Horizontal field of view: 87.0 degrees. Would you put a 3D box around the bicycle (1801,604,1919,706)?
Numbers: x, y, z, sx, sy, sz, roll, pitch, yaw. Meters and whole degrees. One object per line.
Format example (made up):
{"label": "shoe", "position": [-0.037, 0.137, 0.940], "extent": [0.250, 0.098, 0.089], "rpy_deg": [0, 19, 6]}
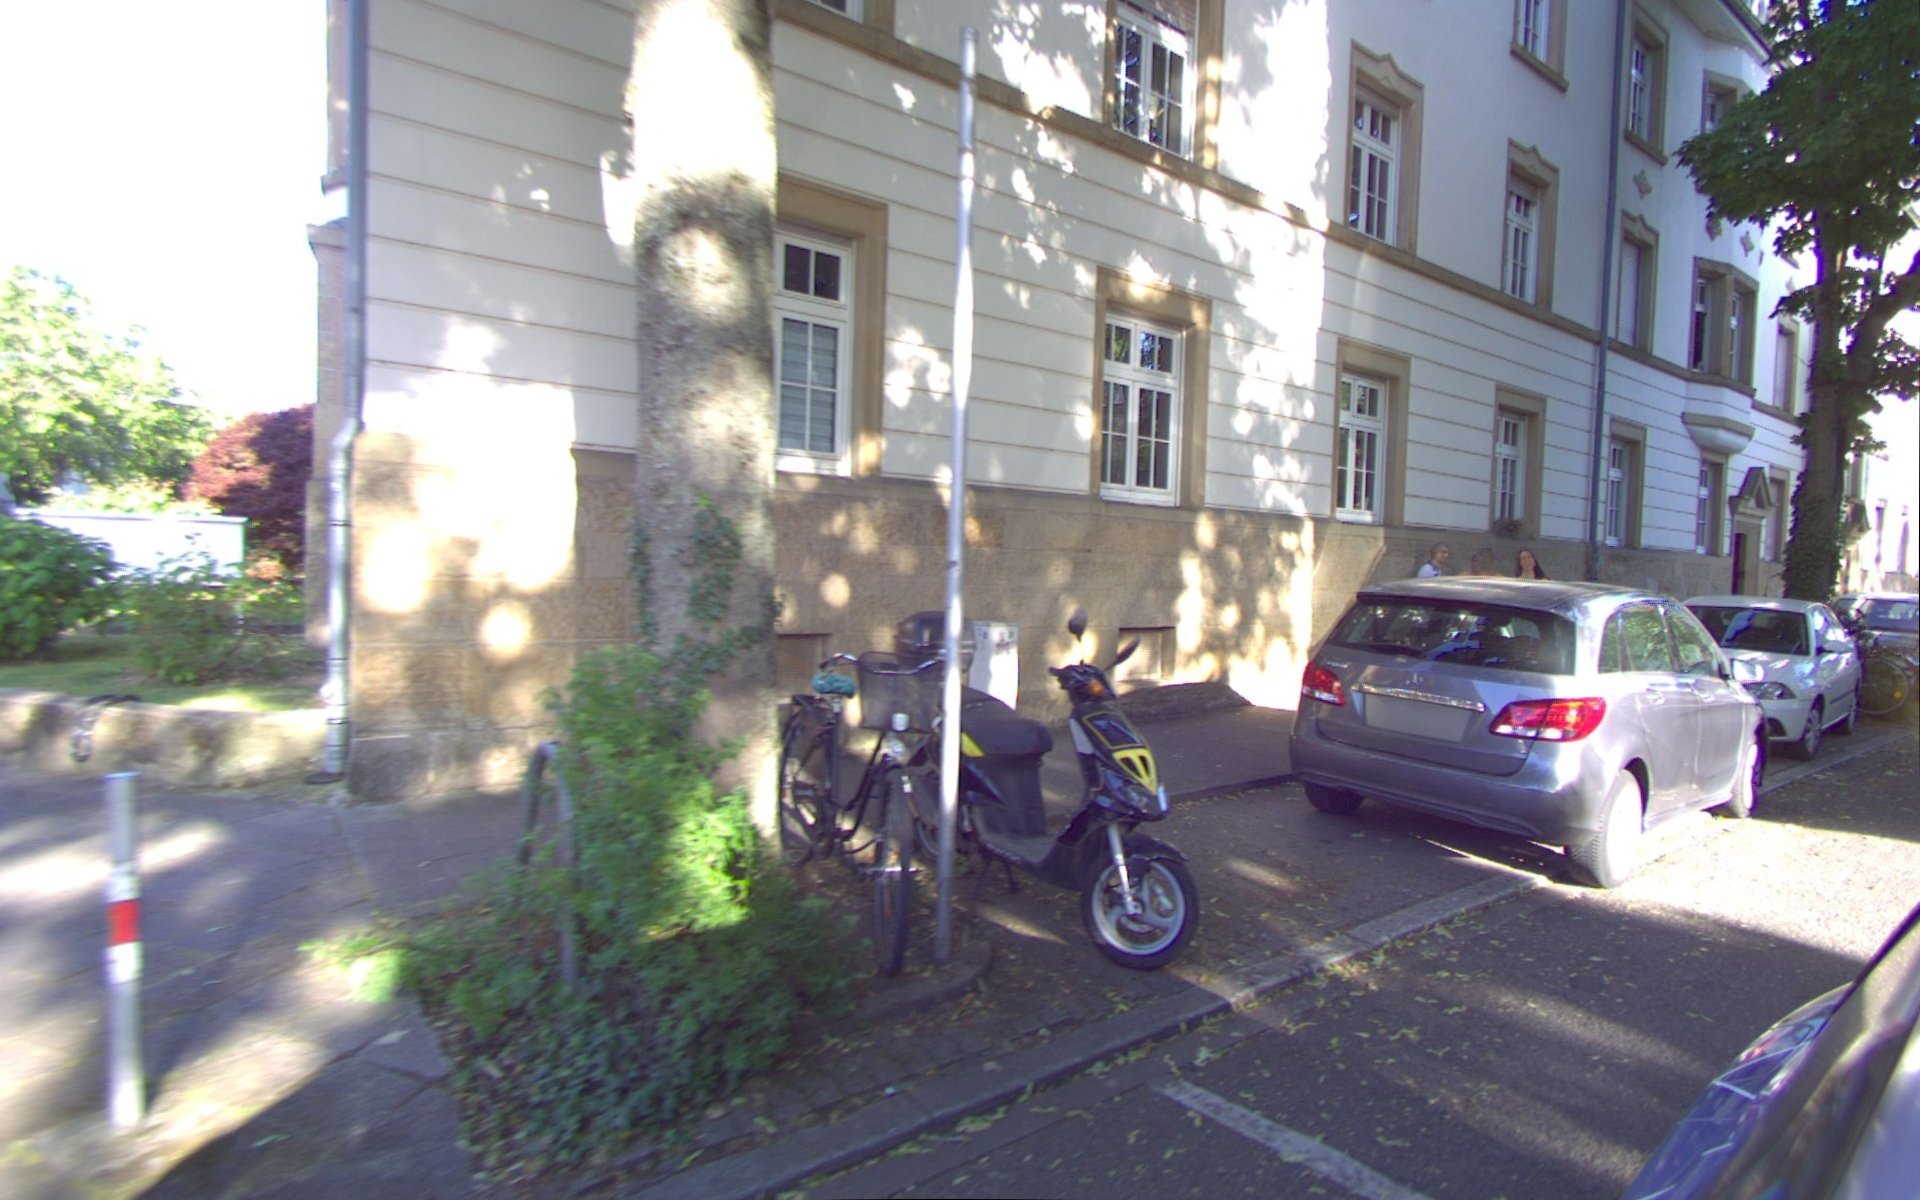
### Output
{"label": "bicycle", "position": [11.838, 0.697, 13.074], "extent": [0.330, 1.209, 1.414], "rpy_deg": [0, 3, -39]}

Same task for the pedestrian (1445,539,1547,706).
{"label": "pedestrian", "position": [5.742, 0.214, 10.846], "extent": [0.803, 1.705, 0.625], "rpy_deg": [0, 2, -38]}

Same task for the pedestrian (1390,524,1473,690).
{"label": "pedestrian", "position": [5.483, 0.064, 11.770], "extent": [0.693, 1.867, 0.529], "rpy_deg": [0, 2, -36]}

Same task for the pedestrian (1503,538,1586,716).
{"label": "pedestrian", "position": [5.923, 0.256, 10.261], "extent": [0.507, 1.739, 0.520], "rpy_deg": [0, 2, -39]}

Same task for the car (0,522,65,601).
{"label": "car", "position": [-20.538, -0.872, 21.322], "extent": [1.754, 1.526, 4.225], "rpy_deg": [0, 3, -31]}

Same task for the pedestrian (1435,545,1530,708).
{"label": "pedestrian", "position": [6.295, 0.294, 12.189], "extent": [0.826, 1.867, 0.705], "rpy_deg": [0, 3, -43]}

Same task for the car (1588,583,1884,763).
{"label": "car", "position": [8.085, 0.598, 10.429], "extent": [3.790, 1.424, 1.726], "rpy_deg": [0, 4, -42]}

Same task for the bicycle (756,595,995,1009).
{"label": "bicycle", "position": [-0.435, 0.638, 4.079], "extent": [0.424, 1.175, 1.804], "rpy_deg": [1, 4, -21]}

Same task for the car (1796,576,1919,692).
{"label": "car", "position": [14.494, 0.470, 15.558], "extent": [3.926, 1.551, 1.640], "rpy_deg": [0, 3, -37]}

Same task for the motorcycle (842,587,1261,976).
{"label": "motorcycle", "position": [0.299, 0.649, 4.522], "extent": [0.666, 1.227, 1.855], "rpy_deg": [2, 4, -40]}

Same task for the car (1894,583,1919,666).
{"label": "car", "position": [19.060, 0.473, 18.916], "extent": [3.926, 1.459, 1.652], "rpy_deg": [0, 3, -37]}

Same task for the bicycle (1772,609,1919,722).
{"label": "bicycle", "position": [10.759, 0.756, 12.205], "extent": [0.330, 1.209, 1.414], "rpy_deg": [0, 3, -39]}

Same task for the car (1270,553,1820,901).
{"label": "car", "position": [3.993, 0.570, 6.641], "extent": [4.059, 1.558, 1.685], "rpy_deg": [0, 4, -39]}
